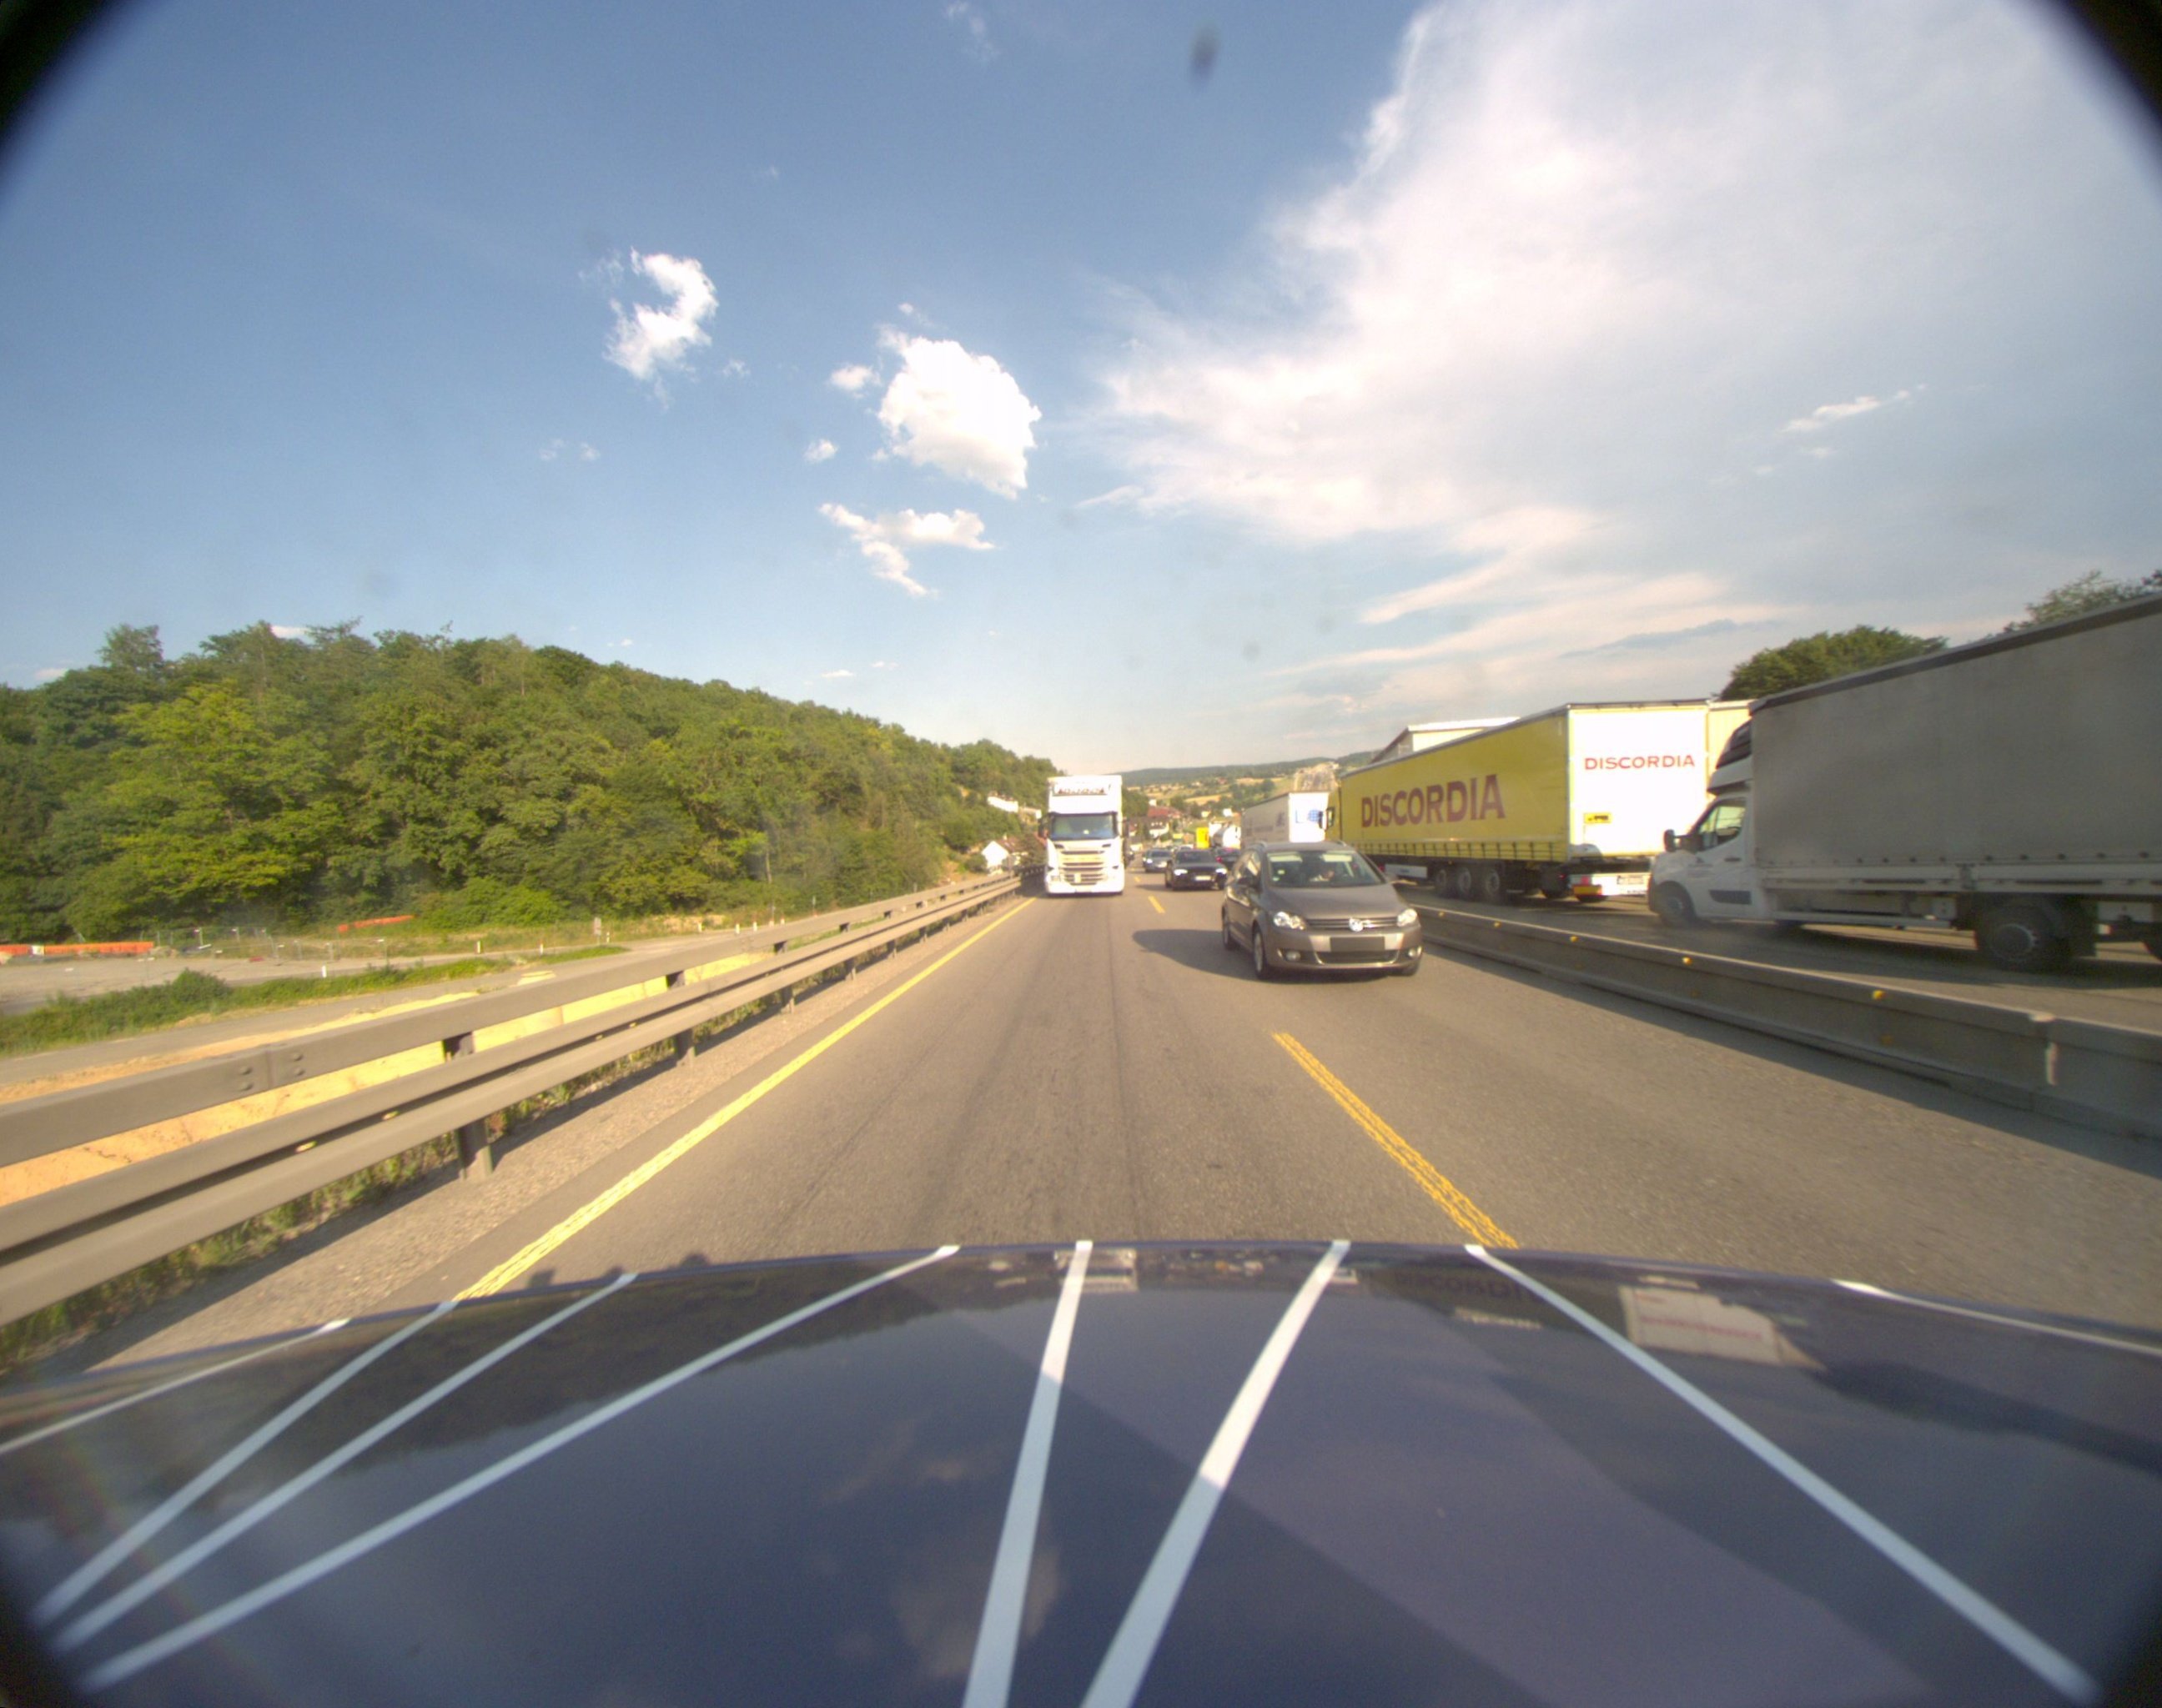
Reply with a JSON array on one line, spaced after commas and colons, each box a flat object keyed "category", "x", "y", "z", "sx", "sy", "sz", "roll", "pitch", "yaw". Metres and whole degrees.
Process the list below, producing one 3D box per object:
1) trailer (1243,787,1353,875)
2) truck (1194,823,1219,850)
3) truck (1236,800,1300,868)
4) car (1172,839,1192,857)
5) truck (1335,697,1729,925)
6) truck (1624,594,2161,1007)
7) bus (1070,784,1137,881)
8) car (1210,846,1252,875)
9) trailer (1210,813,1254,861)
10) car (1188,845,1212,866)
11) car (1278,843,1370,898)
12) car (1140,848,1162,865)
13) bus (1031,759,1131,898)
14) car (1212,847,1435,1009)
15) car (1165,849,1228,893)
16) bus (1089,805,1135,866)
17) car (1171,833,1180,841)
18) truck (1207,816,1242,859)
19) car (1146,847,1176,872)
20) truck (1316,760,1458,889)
[{"category": "trailer", "x": 11.467, "y": -1.168, "z": 41.983, "sx": 2.864, "sy": 4.013, "sz": 13.971, "roll": -1, "pitch": 1, "yaw": 4}, {"category": "truck", "x": 18.025, "y": -2.521, "z": 109.406, "sx": 2.899, "sy": 3.689, "sz": 9.491, "roll": -1, "pitch": 1, "yaw": 6}, {"category": "truck", "x": 11.889, "y": -1.277, "z": 48.771, "sx": 2.850, "sy": 4.013, "sz": 6.101, "roll": -1, "pitch": 1, "yaw": 4}, {"category": "car", "x": 10.963, "y": -0.657, "z": 82.754, "sx": 1.866, "sy": 1.899, "sz": 4.000, "roll": -1, "pitch": 1, "yaw": 4}, {"category": "truck", "x": 10.492, "y": -0.880, "z": 20.766, "sx": 2.714, "sy": 4.065, "sz": 14.152, "roll": -1, "pitch": 1, "yaw": 2}, {"category": "truck", "x": 10.262, "y": -0.503, "z": 8.822, "sx": 2.453, "sy": 3.443, "sz": 7.616, "roll": -2, "pitch": 1, "yaw": 0}, {"category": "bus", "x": 1.448, "y": -1.057, "z": 41.340, "sx": 2.984, "sy": 4.553, "sz": 9.970, "roll": -2, "pitch": 0, "yaw": 5}, {"category": "car", "x": 8.448, "y": 0.327, "z": 43.095, "sx": 1.811, "sy": 1.417, "sz": 4.674, "roll": -2, "pitch": 1, "yaw": 6}, {"category": "trailer", "x": 13.257, "y": -1.469, "z": 67.600, "sx": 2.603, "sy": 3.858, "sz": 10.579, "roll": -1, "pitch": 1, "yaw": 5}, {"category": "car", "x": 8.830, "y": 0.070, "z": 56.677, "sx": 1.659, "sy": 1.421, "sz": 4.567, "roll": -2, "pitch": 1, "yaw": 8}, {"category": "car", "x": 7.562, "y": 0.448, "z": 24.047, "sx": 1.658, "sy": 1.514, "sz": 4.287, "roll": -2, "pitch": 1, "yaw": 3}, {"category": "car", "x": 5.704, "y": 0.183, "z": 61.886, "sx": 1.627, "sy": 1.239, "sz": 4.000, "roll": -2, "pitch": 1, "yaw": 4}, {"category": "bus", "x": 0.368, "y": -0.845, "z": 28.197, "sx": 2.634, "sy": 4.077, "sz": 11.316, "roll": -1, "pitch": 1, "yaw": 5}, {"category": "car", "x": 2.808, "y": 0.732, "z": 9.738, "sx": 1.687, "sy": 1.565, "sz": 4.100, "roll": -2, "pitch": 1, "yaw": 3}, {"category": "car", "x": 4.059, "y": 0.541, "z": 27.238, "sx": 1.866, "sy": 1.391, "sz": 4.000, "roll": -1, "pitch": 1, "yaw": 4}, {"category": "bus", "x": 2.748, "y": -1.450, "z": 63.365, "sx": 2.984, "sy": 4.553, "sz": 10.907, "roll": -2, "pitch": 0, "yaw": 6}, {"category": "car", "x": 26.294, "y": -4.703, "z": 211.377, "sx": 1.822, "sy": 1.988, "sz": 4.755, "roll": 0, "pitch": 0, "yaw": -1}, {"category": "truck", "x": 13.646, "y": -1.548, "z": 72.528, "sx": 2.605, "sy": 3.865, "sz": 6.204, "roll": -1, "pitch": 1, "yaw": 5}, {"category": "car", "x": 4.975, "y": 0.312, "z": 47.822, "sx": 1.698, "sy": 1.390, "sz": 4.001, "roll": -3, "pitch": 0, "yaw": 5}, {"category": "truck", "x": 10.684, "y": -0.984, "z": 27.225, "sx": 2.720, "sy": 4.065, "sz": 6.100, "roll": -1, "pitch": 1, "yaw": 2}]
